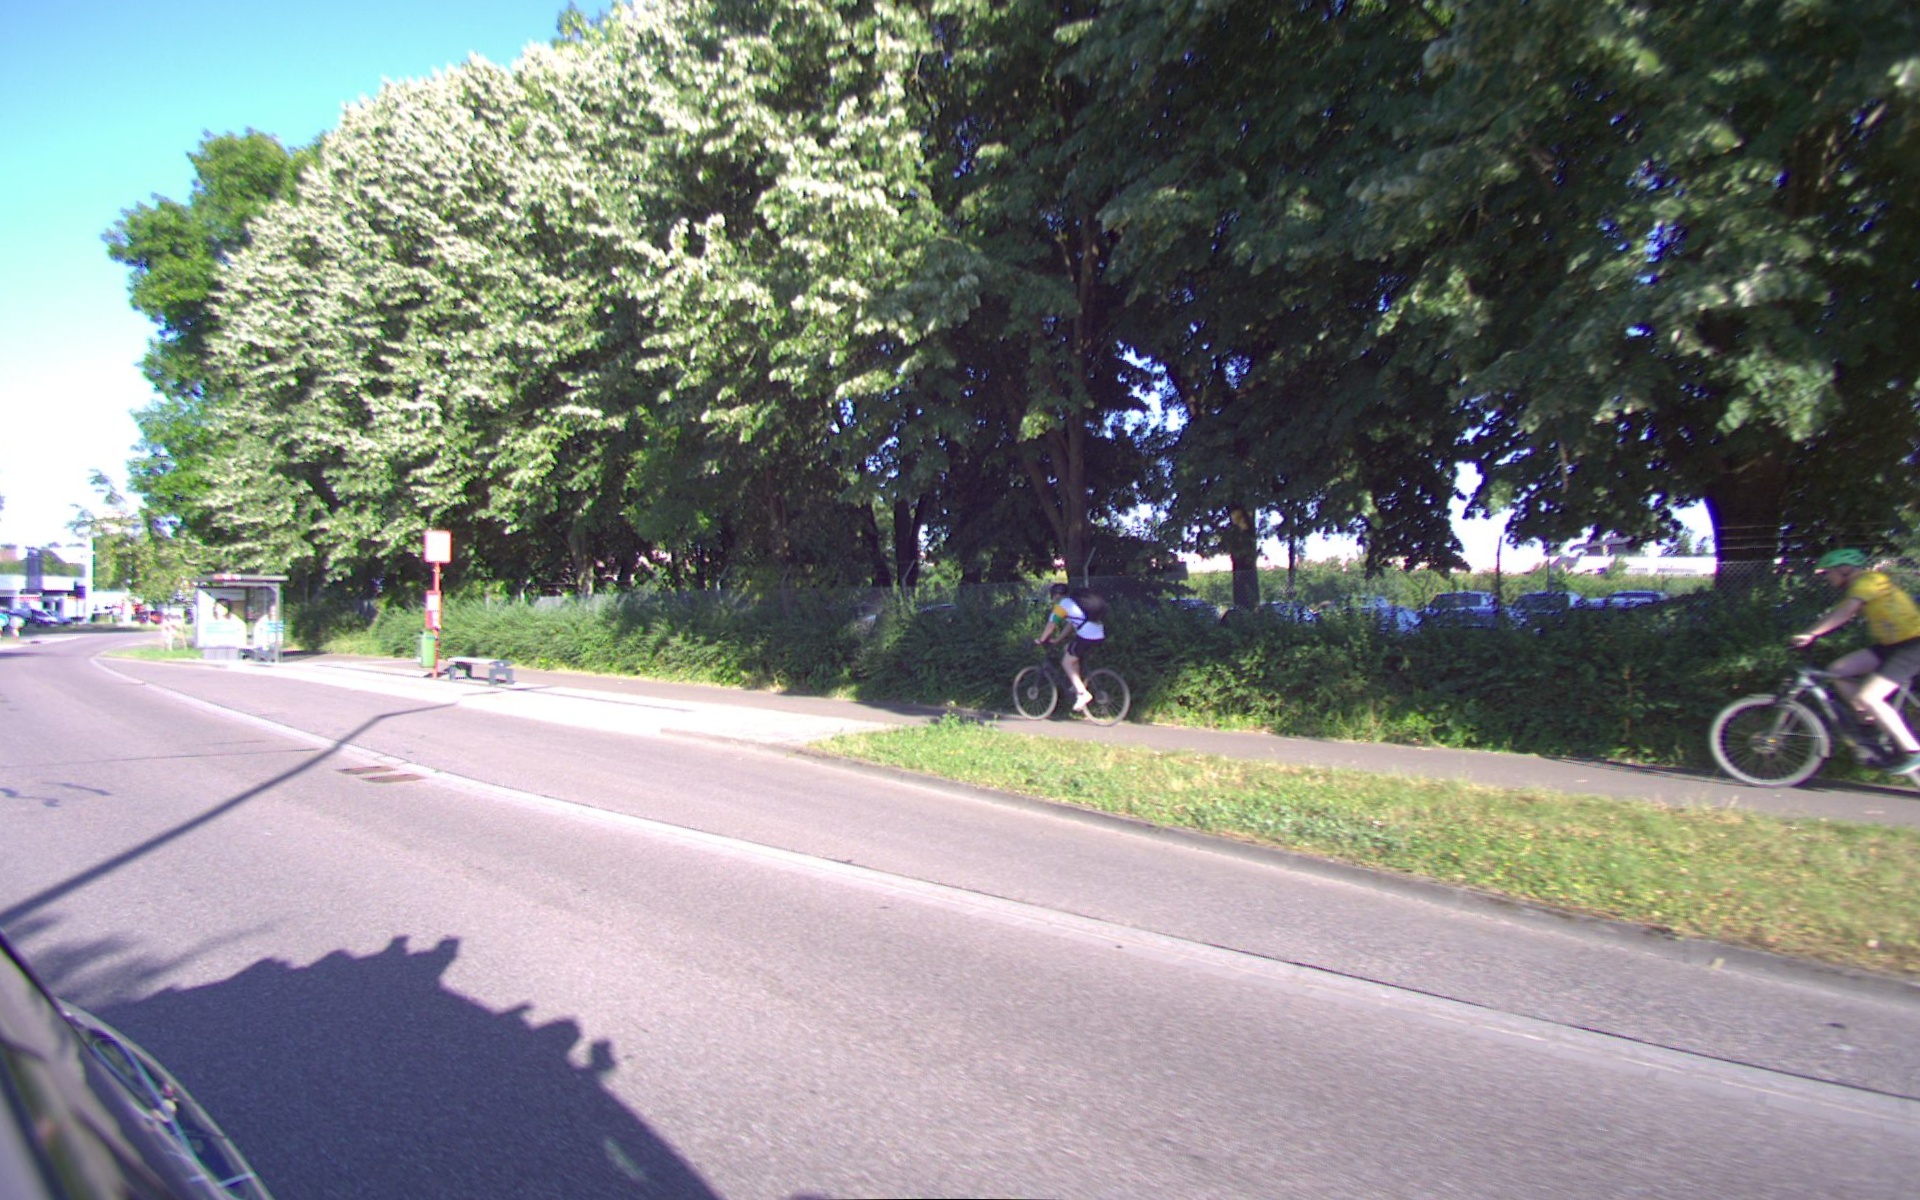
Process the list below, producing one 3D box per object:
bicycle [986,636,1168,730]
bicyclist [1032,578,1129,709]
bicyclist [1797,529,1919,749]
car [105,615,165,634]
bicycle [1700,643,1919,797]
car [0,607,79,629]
[{"bbox_3d":[1.419,0.985,12.598,2.216,1.047,0.757,-1,-2,41],"label":"bicycle"},{"bbox_3d":[1.495,0.529,12.520,0.951,1.541,0.723,-1,-2,41],"label":"bicyclist"},{"bbox_3d":[6.841,0.285,7.504,0.951,1.541,0.723,-1,-2,41],"label":"bicyclist"},{"bbox_3d":[-88.981,2.653,109.188,4.788,2.029,2.295,0,-2,7],"label":"car"},{"bbox_3d":[6.876,0.867,7.482,2.216,1.047,0.757,-1,-2,41],"label":"bicycle"},{"bbox_3d":[-85.996,1.711,94.417,5.205,2.029,2.410,0,-2,-9],"label":"car"}]
